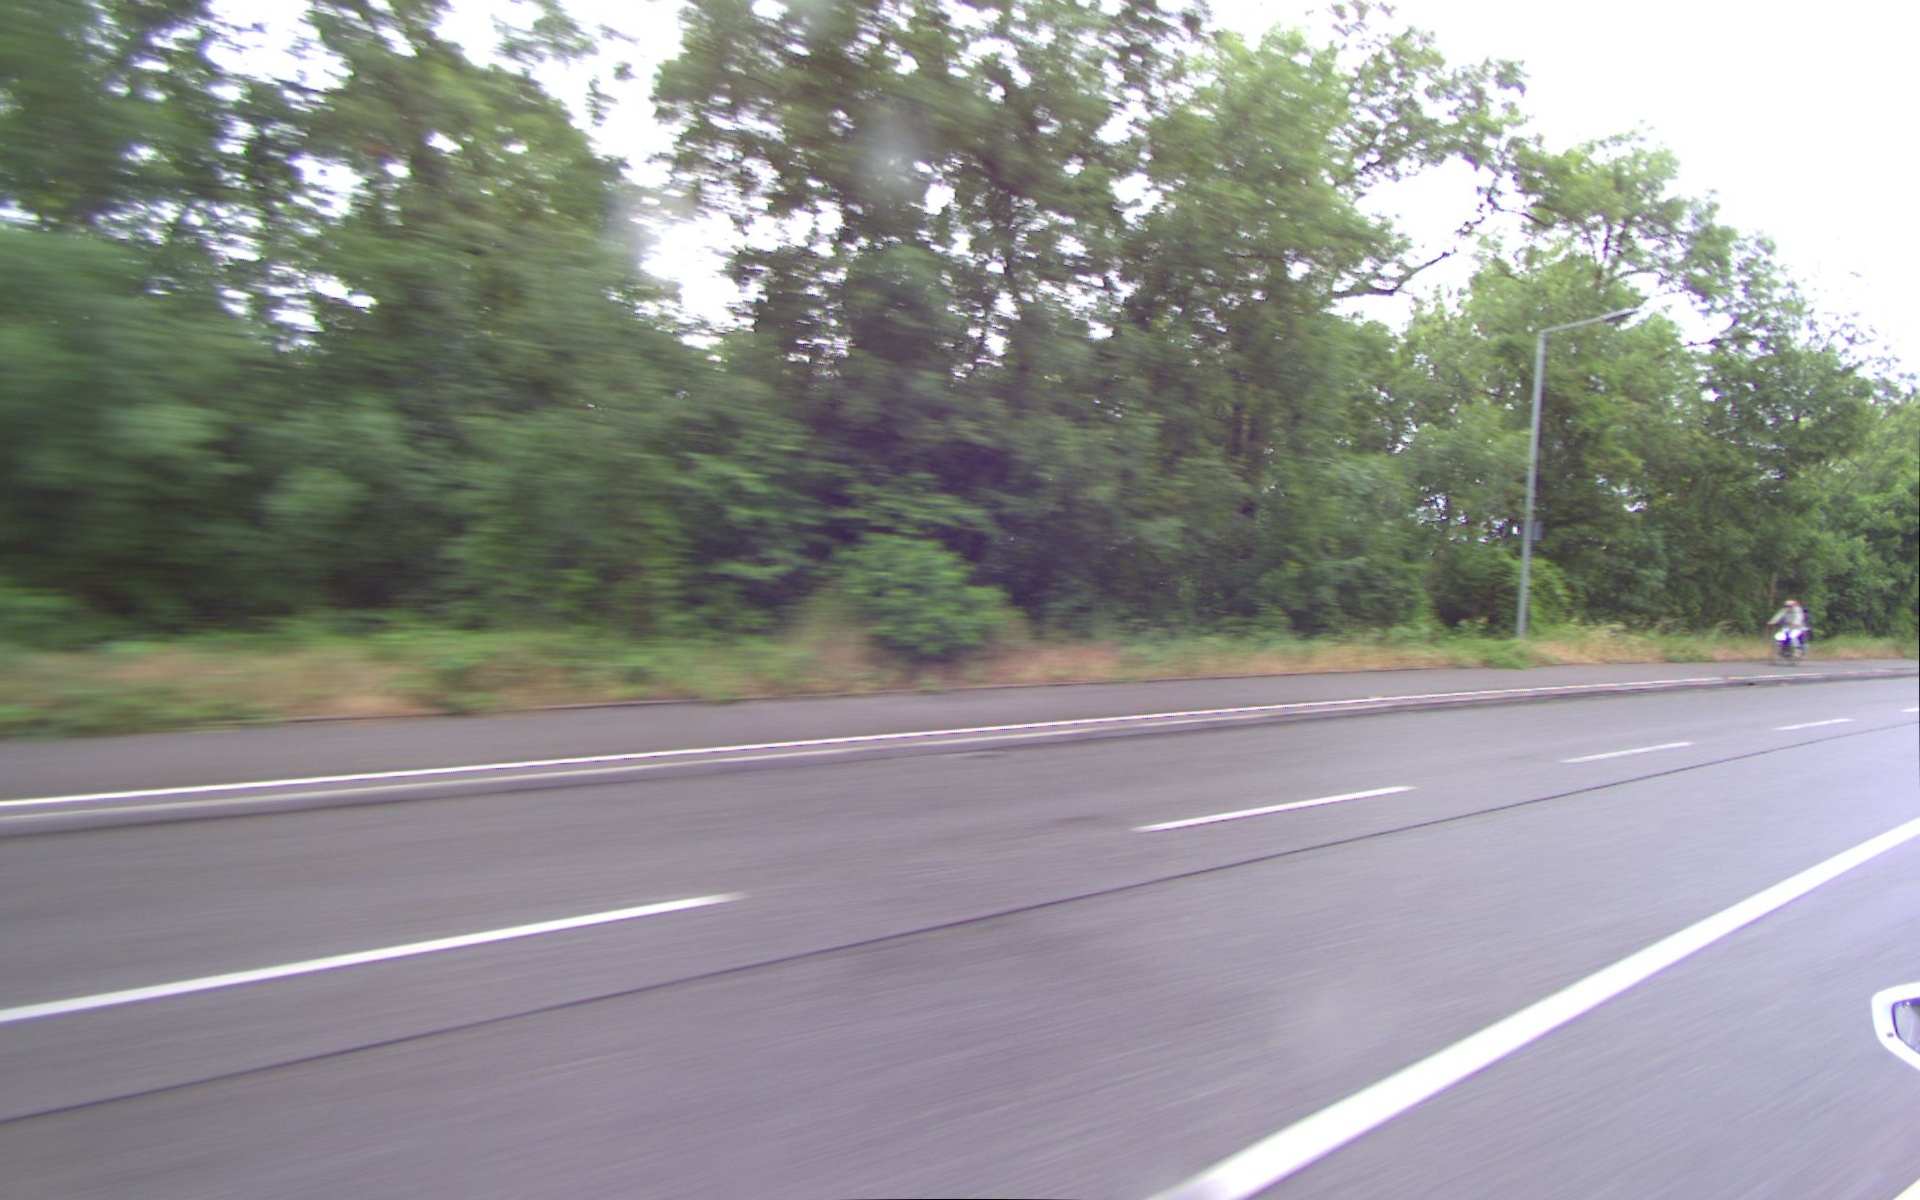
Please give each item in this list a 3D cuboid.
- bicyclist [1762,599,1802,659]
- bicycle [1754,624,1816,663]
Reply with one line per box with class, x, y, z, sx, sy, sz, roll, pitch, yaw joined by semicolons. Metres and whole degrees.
bicyclist;22.425;0.784;27.391;0.690;1.607;0.577;2;0;-25
bicycle;22.493;1.194;27.391;1.990;1.017;0.451;1;3;-26
